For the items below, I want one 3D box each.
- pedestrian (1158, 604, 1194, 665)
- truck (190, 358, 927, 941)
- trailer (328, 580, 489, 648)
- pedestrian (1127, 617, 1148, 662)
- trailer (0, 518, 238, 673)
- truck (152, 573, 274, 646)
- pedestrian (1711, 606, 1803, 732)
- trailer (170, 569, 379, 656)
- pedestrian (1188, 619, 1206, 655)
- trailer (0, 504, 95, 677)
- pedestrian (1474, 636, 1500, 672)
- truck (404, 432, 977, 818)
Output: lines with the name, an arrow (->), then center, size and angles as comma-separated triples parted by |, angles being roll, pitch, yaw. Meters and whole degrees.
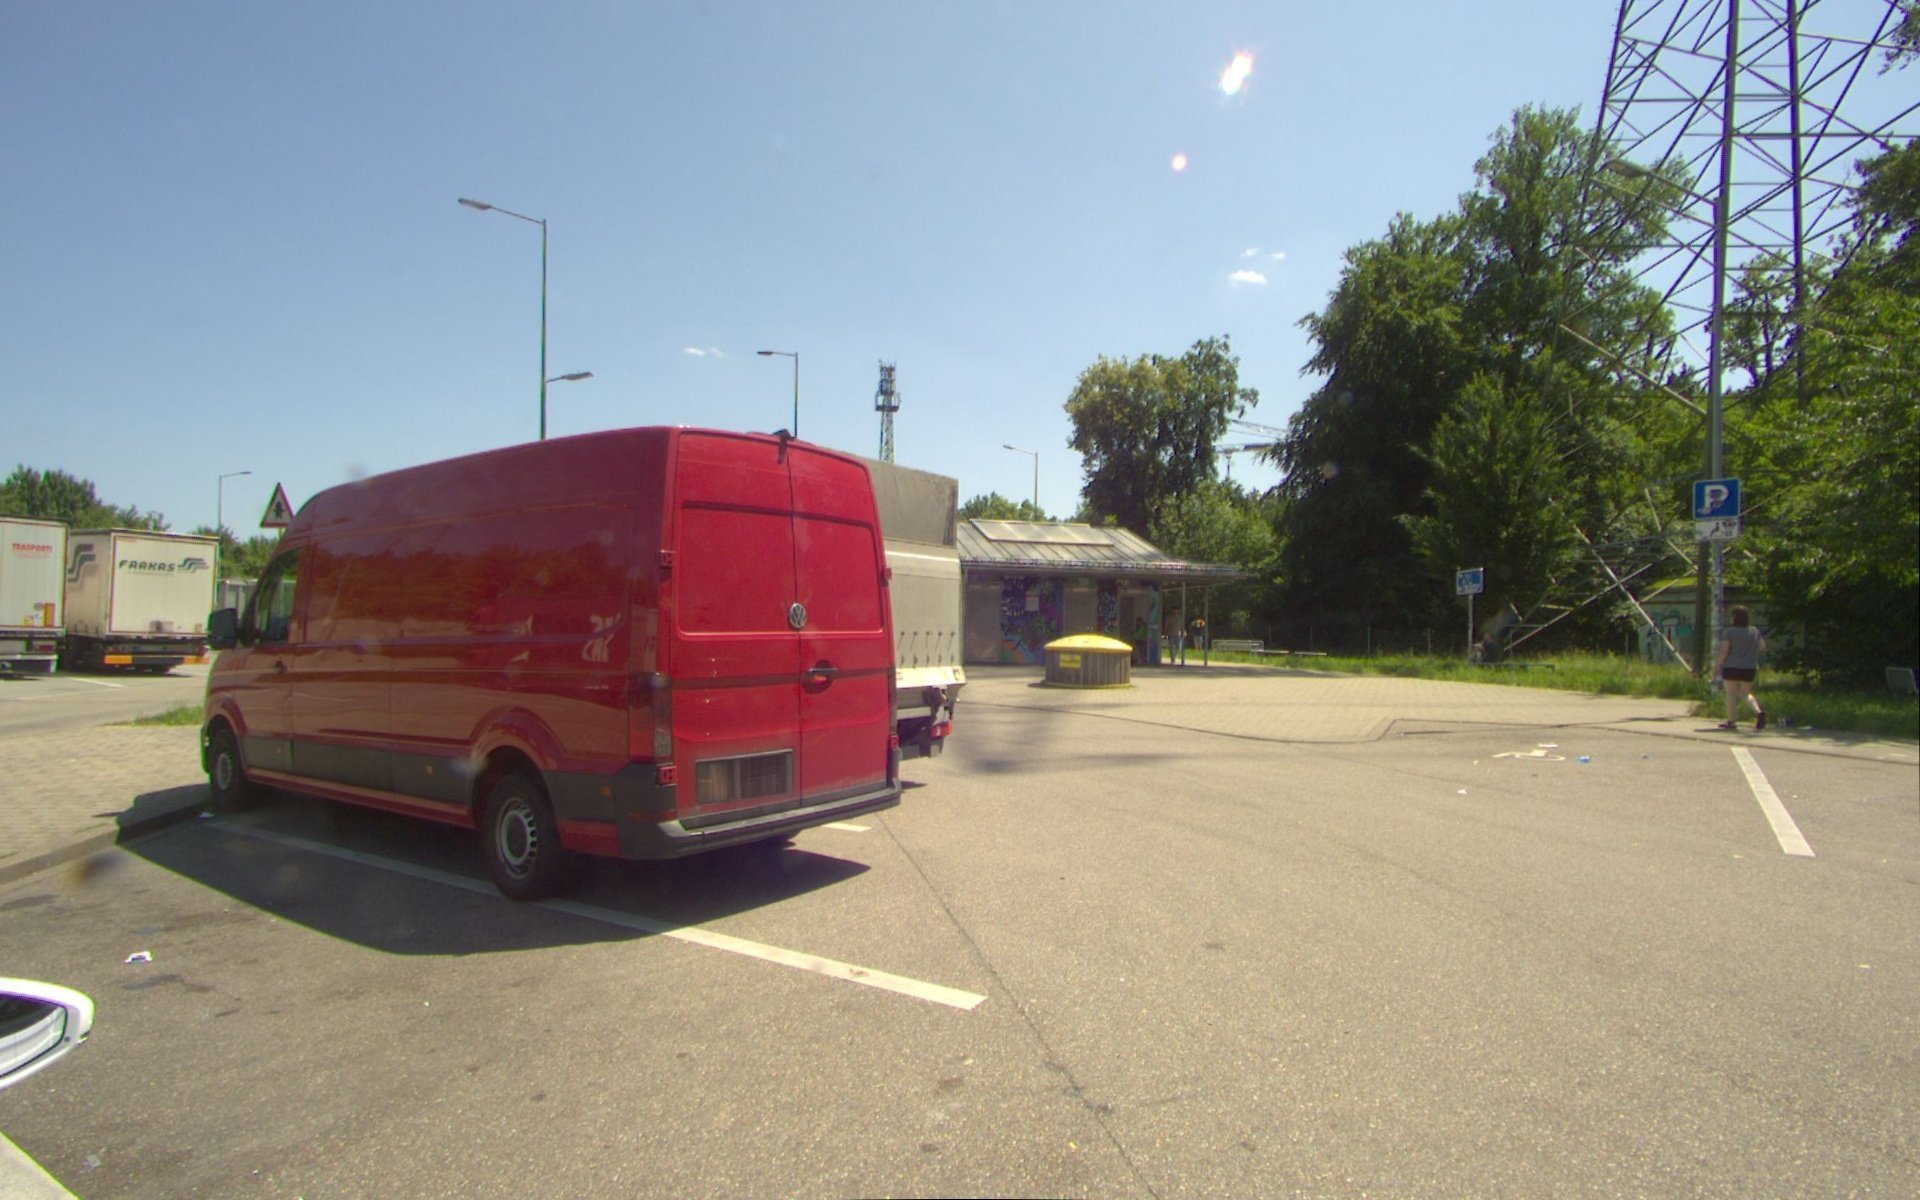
pedestrian -> 6.996, 1.107, 32.420 | 0.799, 1.929, 0.920 | 0, -1, -15
truck -> -3.344, 0.303, 7.339 | 6.372, 2.685, 2.005 | -1, -2, 37
trailer -> -36.178, 0.839, 65.338 | 13.561, 3.955, 2.854 | 1, -2, 32
pedestrian -> 5.452, 1.213, 30.775 | 0.532, 1.392, 0.583 | 0, -1, 0
trailer -> -27.622, -0.170, 31.609 | 13.561, 4.162, 2.854 | 1, -2, 32
truck -> -37.556, 0.471, 50.323 | 5.887, 3.406, 2.862 | 1, -2, 32
pedestrian -> 10.904, 0.934, 13.724 | 0.674, 1.670, 0.715 | 0, -1, 2
trailer -> -32.484, 0.481, 47.099 | 13.561, 3.646, 2.854 | 1, -2, 32
pedestrian -> 10.854, 1.708, 45.822 | 0.799, 1.639, 0.920 | 0, -1, 14
trailer -> -28.695, -0.342, 28.022 | 13.561, 4.162, 2.854 | 1, -2, 32
pedestrian -> 14.636, 1.488, 27.819 | 0.439, 0.987, 0.460 | 0, -1, -19
truck -> -3.093, 0.274, 10.523 | 6.372, 2.944, 2.411 | -1, -2, 37
